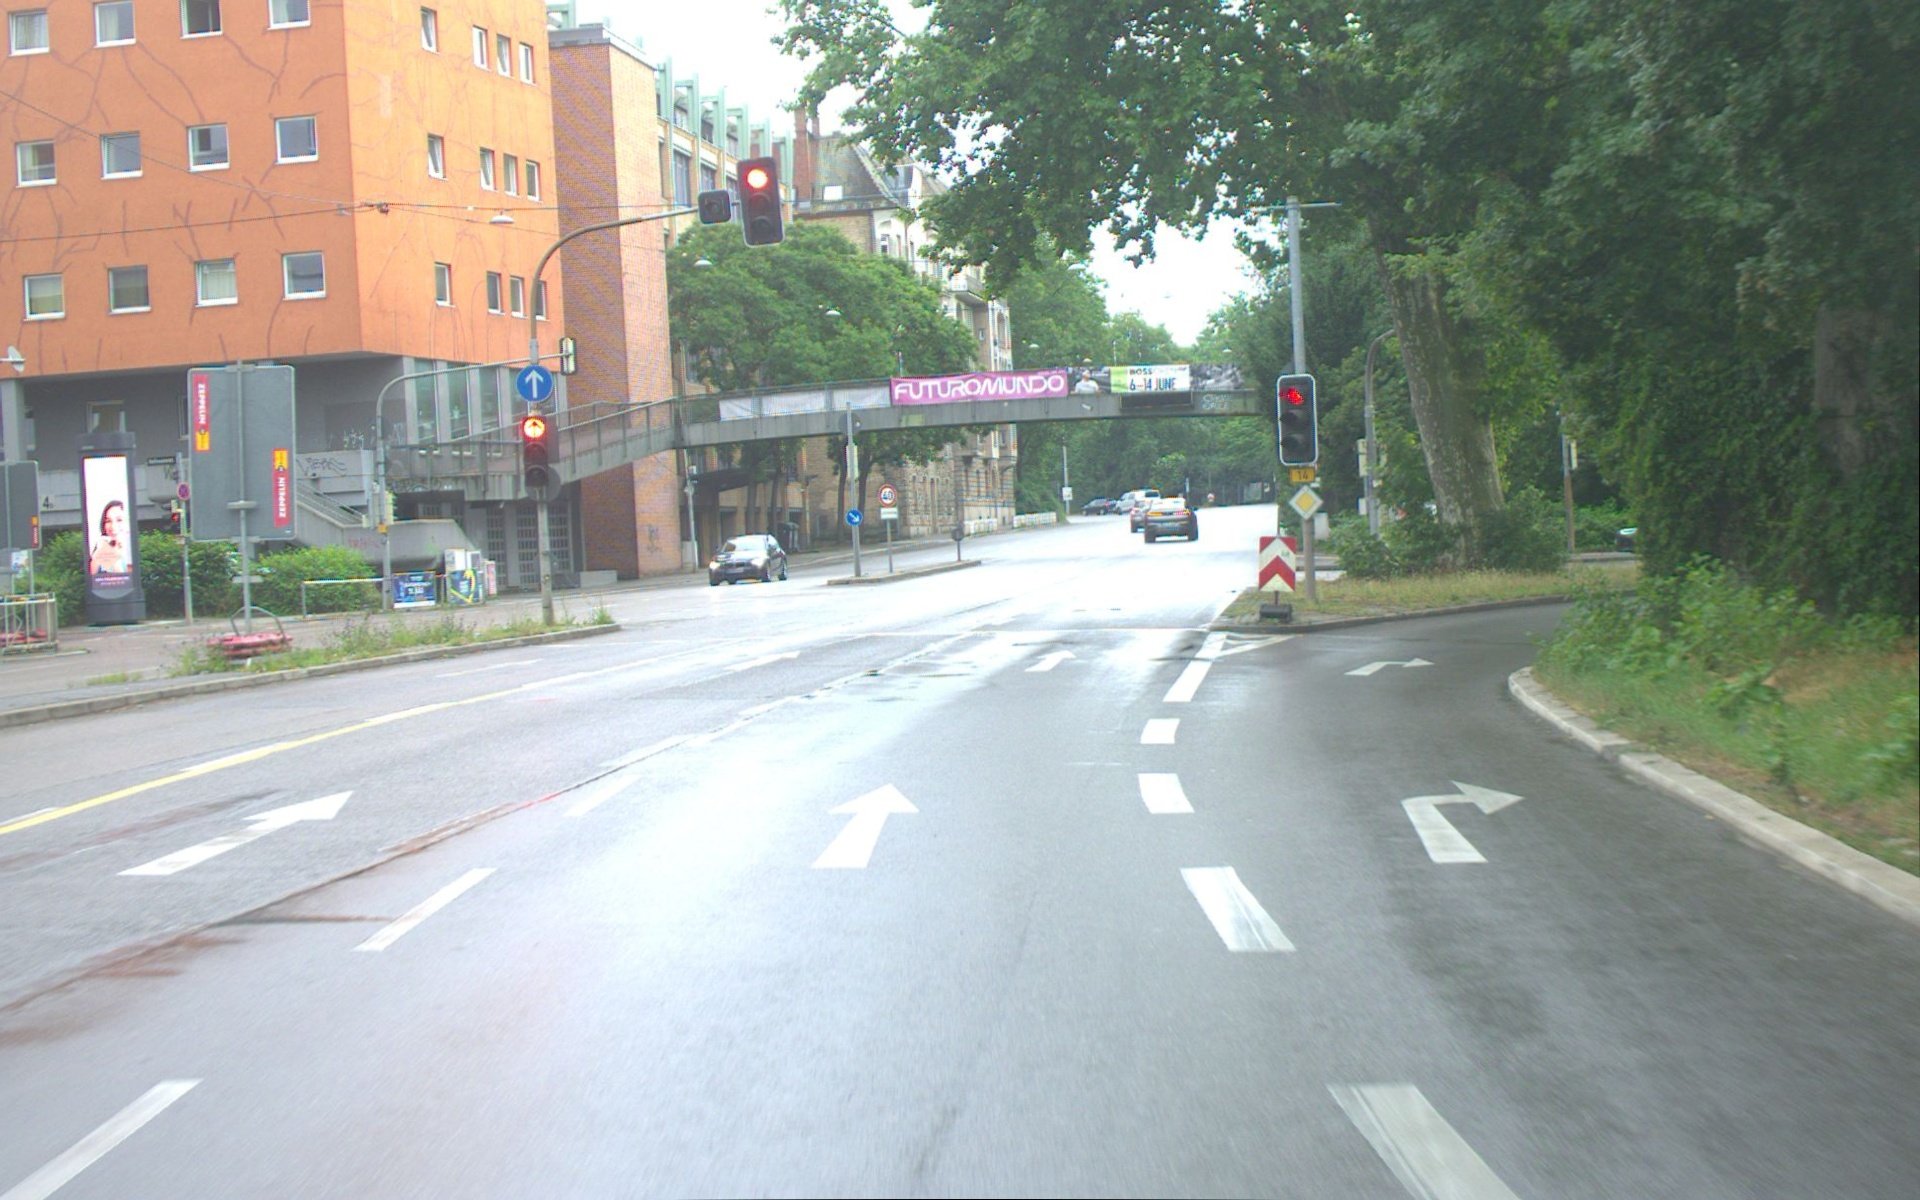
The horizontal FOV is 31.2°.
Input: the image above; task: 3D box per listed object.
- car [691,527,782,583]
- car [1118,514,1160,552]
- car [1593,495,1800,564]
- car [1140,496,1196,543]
[{"bbox_3d":[-6.539,-1.337,101.086,1.994,1.514,3.999,-3,1,5],"label":"car"},{"bbox_3d":[8.613,-3.232,165.406,1.763,1.691,3.705,-4,1,5],"label":"car"},{"bbox_3d":[17.999,-1.723,84.125,4.603,1.446,1.774,-3,1,-2],"label":"car"},{"bbox_3d":[8.218,-3.200,136.286,2.121,1.729,4.198,-1,2,3],"label":"car"}]
